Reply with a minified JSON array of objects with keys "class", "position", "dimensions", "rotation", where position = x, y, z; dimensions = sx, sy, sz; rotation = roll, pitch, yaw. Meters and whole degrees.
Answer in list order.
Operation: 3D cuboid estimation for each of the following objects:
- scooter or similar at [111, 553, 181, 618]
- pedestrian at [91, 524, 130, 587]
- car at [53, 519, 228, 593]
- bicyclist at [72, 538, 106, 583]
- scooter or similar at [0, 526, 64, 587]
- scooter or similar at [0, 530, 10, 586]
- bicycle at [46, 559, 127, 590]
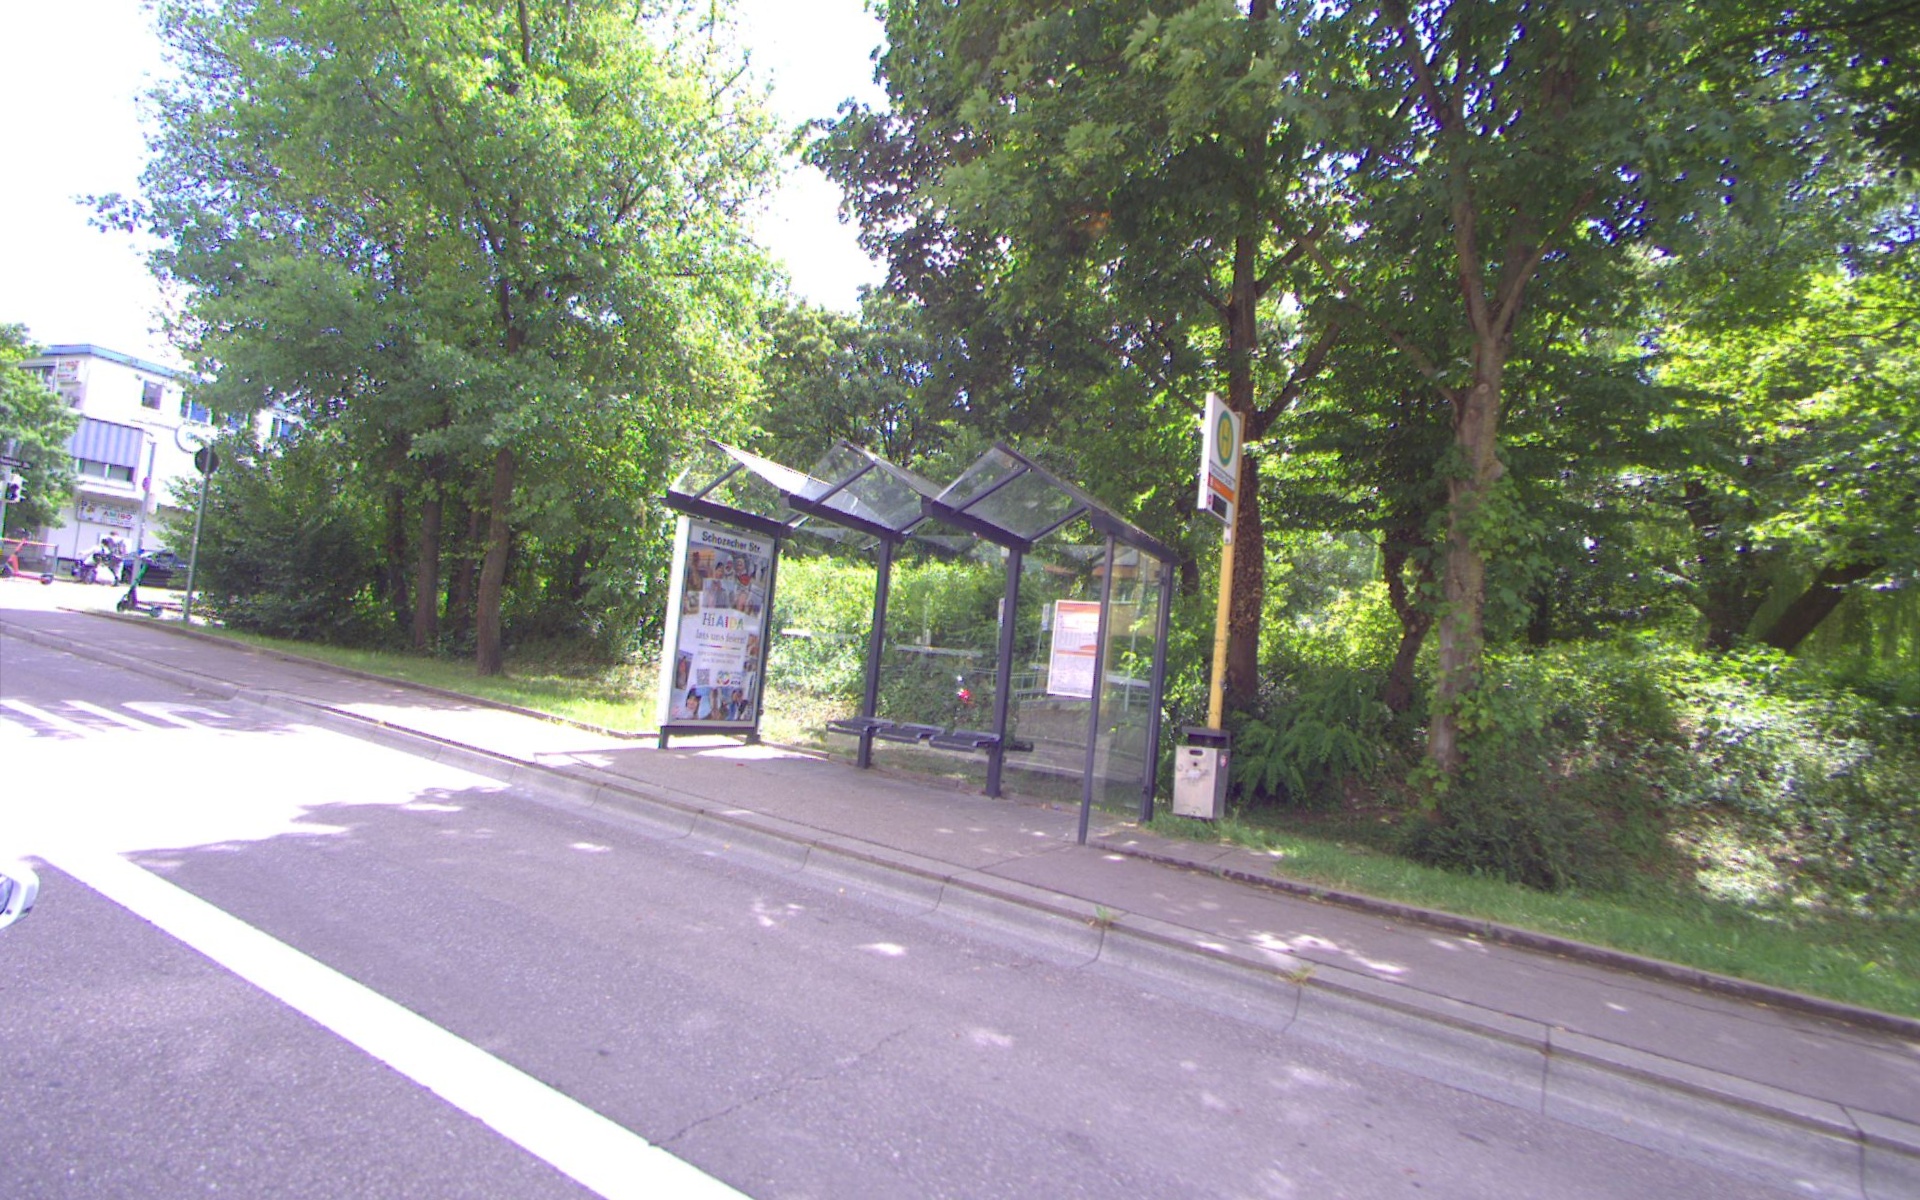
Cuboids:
[{"class":"scooter or similar","position":[-17.747,-0.305,21.933],"dimensions":[0.447,1.242,0.893],"rotation":[6,-7,32]},{"class":"pedestrian","position":[-24.870,-1.298,29.457],"dimensions":[0.652,1.733,0.458],"rotation":[7,-1,-32]},{"class":"car","position":[-30.787,-1.597,37.965],"dimensions":[1.964,2.036,4.552],"rotation":[6,-3,25]},{"class":"bicyclist","position":[-24.095,-1.077,27.832],"dimensions":[0.393,1.170,0.502],"rotation":[7,-1,-11]},{"class":"scooter or similar","position":[-22.535,-1.048,24.253],"dimensions":[0.546,1.286,1.153],"rotation":[6,-3,34]},{"class":"scooter or similar","position":[-22.267,-1.026,22.618],"dimensions":[0.531,1.249,1.111],"rotation":[6,-2,34]},{"class":"bicycle","position":[-24.142,-0.690,27.831],"dimensions":[1.565,0.616,0.534],"rotation":[8,-2,-12]}]
